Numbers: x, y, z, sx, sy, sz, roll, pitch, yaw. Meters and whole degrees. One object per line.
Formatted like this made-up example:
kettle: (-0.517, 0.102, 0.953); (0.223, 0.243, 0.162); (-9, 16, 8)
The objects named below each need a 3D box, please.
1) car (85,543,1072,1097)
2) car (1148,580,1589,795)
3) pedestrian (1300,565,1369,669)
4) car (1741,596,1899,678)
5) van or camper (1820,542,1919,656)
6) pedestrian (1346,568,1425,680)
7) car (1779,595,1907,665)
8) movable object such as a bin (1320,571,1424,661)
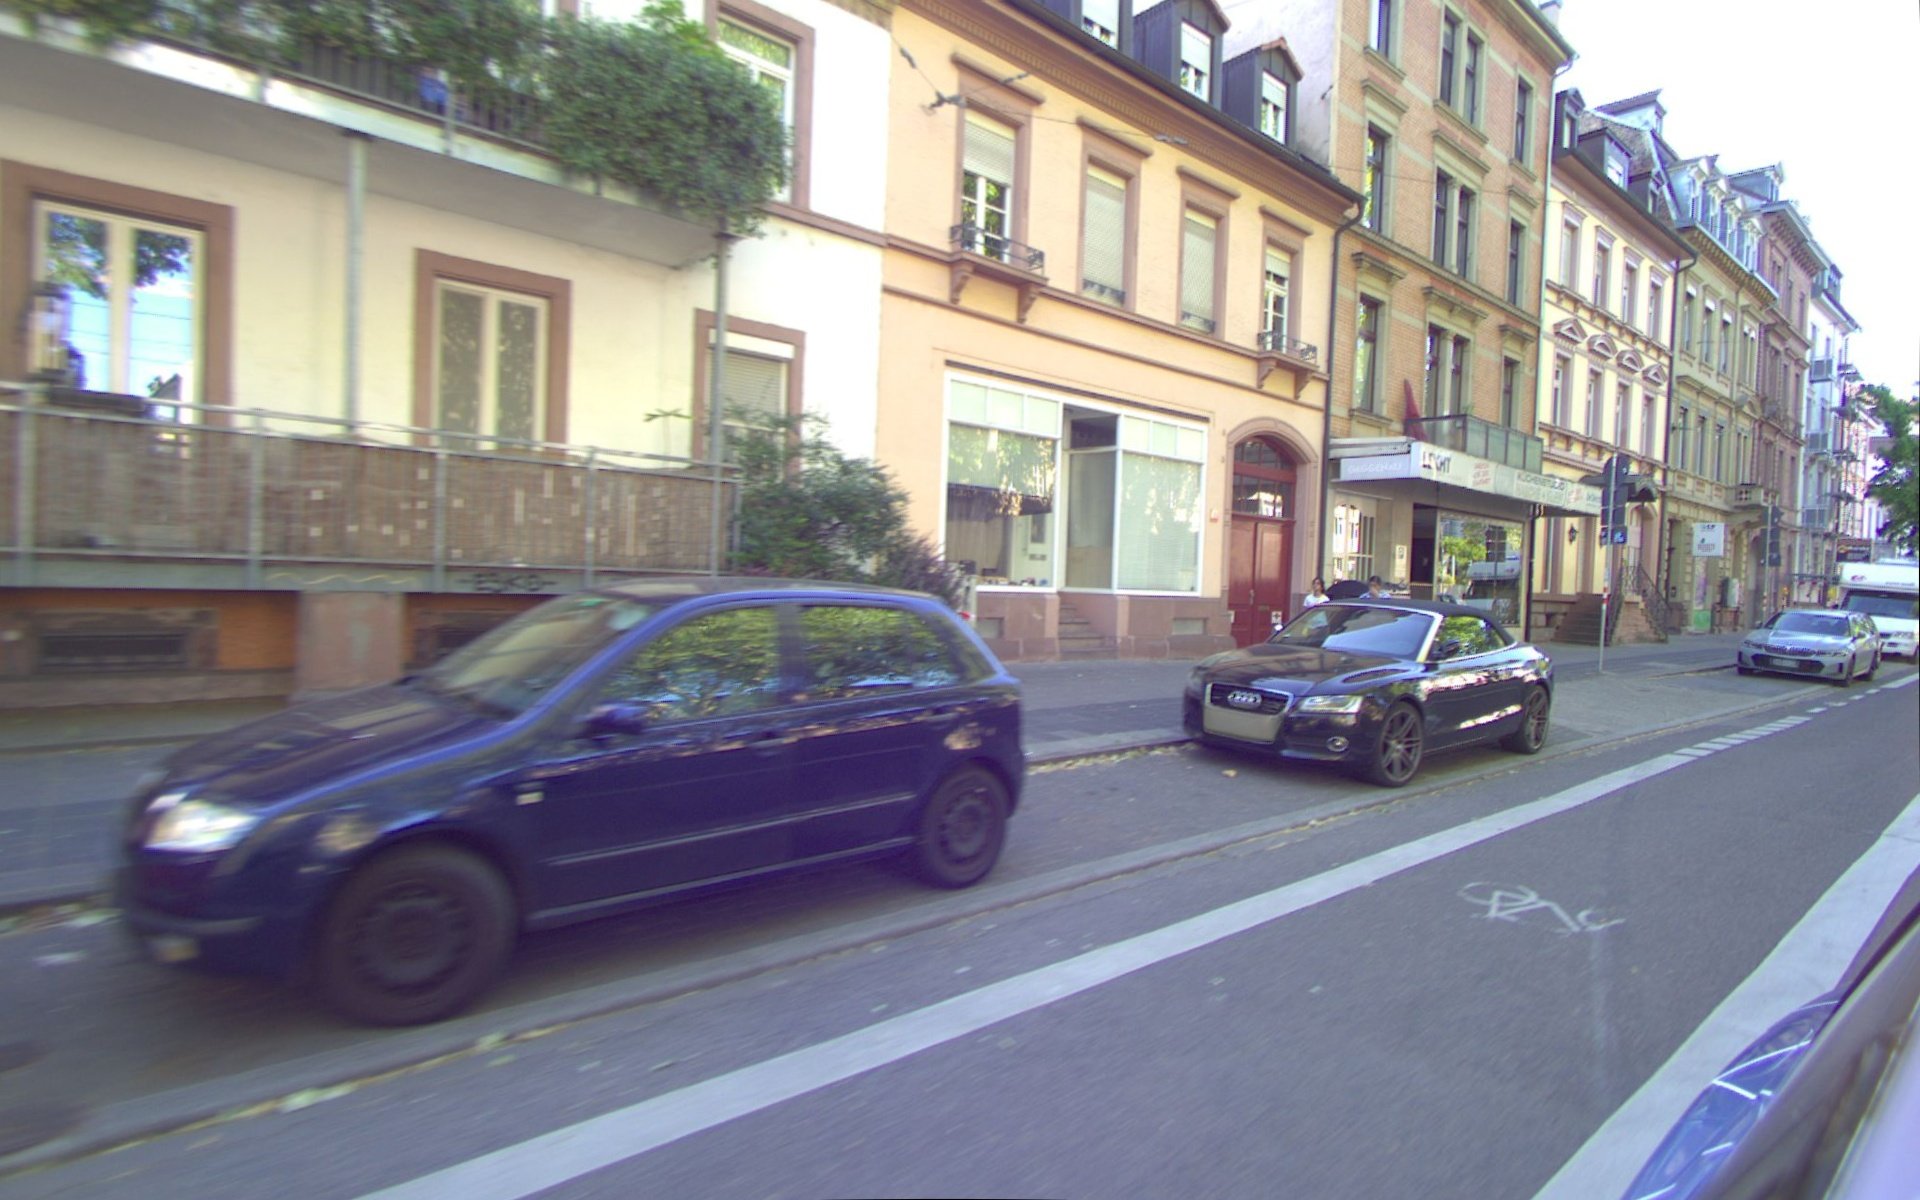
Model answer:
car: (-1.428, 0.564, 4.593); (3.800, 1.474, 1.655); (0, 3, -40)
car: (3.813, 0.603, 9.067); (4.413, 1.409, 1.698); (0, 3, -39)
pedestrian: (5.600, 0.236, 15.137); (0.772, 1.501, 0.659); (1, 1, -41)
car: (18.284, 0.708, 21.440); (4.583, 1.452, 1.814); (0, 3, -41)
van or camper: (28.865, -0.052, 30.824); (7.742, 3.007, 2.485); (0, 5, -39)
pedestrian: (6.053, 0.321, 14.399); (0.851, 1.523, 0.661); (1, 3, -41)
car: (22.000, 0.702, 25.162); (3.956, 1.451, 1.650); (0, 5, -39)
movable object such as a bin: (7.478, 0.262, 18.385); (1.263, 1.539, 1.296); (0, 1, -40)
